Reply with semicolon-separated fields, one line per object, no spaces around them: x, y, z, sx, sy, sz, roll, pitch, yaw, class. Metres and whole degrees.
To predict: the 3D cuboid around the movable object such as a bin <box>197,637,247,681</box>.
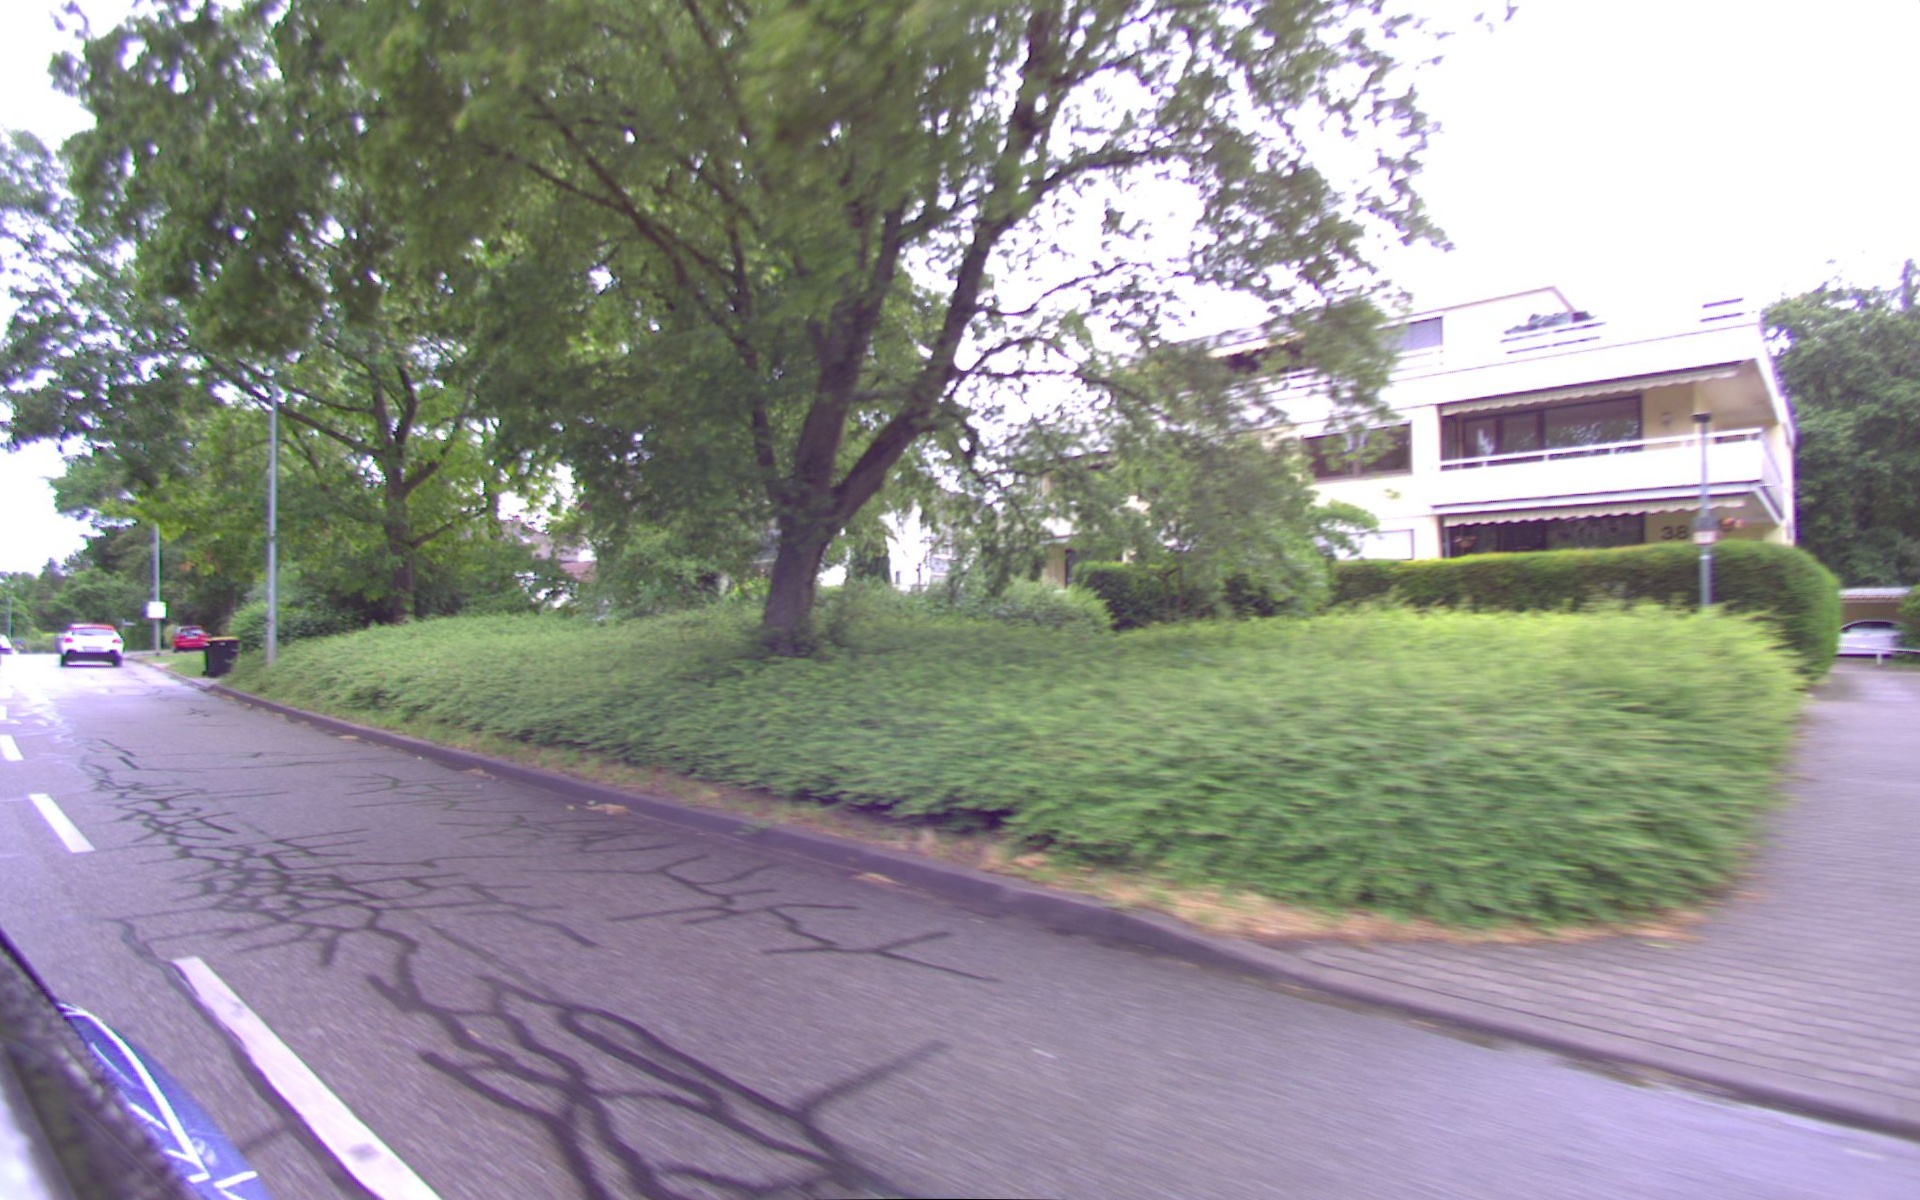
-20.161;1.592;27.651;1.024;1.113;0.967;-1;-1;-40;movable object such as a bin

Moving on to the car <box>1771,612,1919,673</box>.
31.490;1.531;35.952;3.998;2.029;1.972;-3;-3;42;car

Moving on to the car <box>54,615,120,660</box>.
-31.304;1.353;36.257;1.645;1.488;3.736;4;-4;-42;car

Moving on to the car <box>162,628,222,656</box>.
-46.650;2.531;61.474;3.995;1.527;1.974;1;0;38;car

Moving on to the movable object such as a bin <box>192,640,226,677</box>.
-20.837;1.628;28.091;0.640;0.986;0.578;7;-6;-42;movable object such as a bin
